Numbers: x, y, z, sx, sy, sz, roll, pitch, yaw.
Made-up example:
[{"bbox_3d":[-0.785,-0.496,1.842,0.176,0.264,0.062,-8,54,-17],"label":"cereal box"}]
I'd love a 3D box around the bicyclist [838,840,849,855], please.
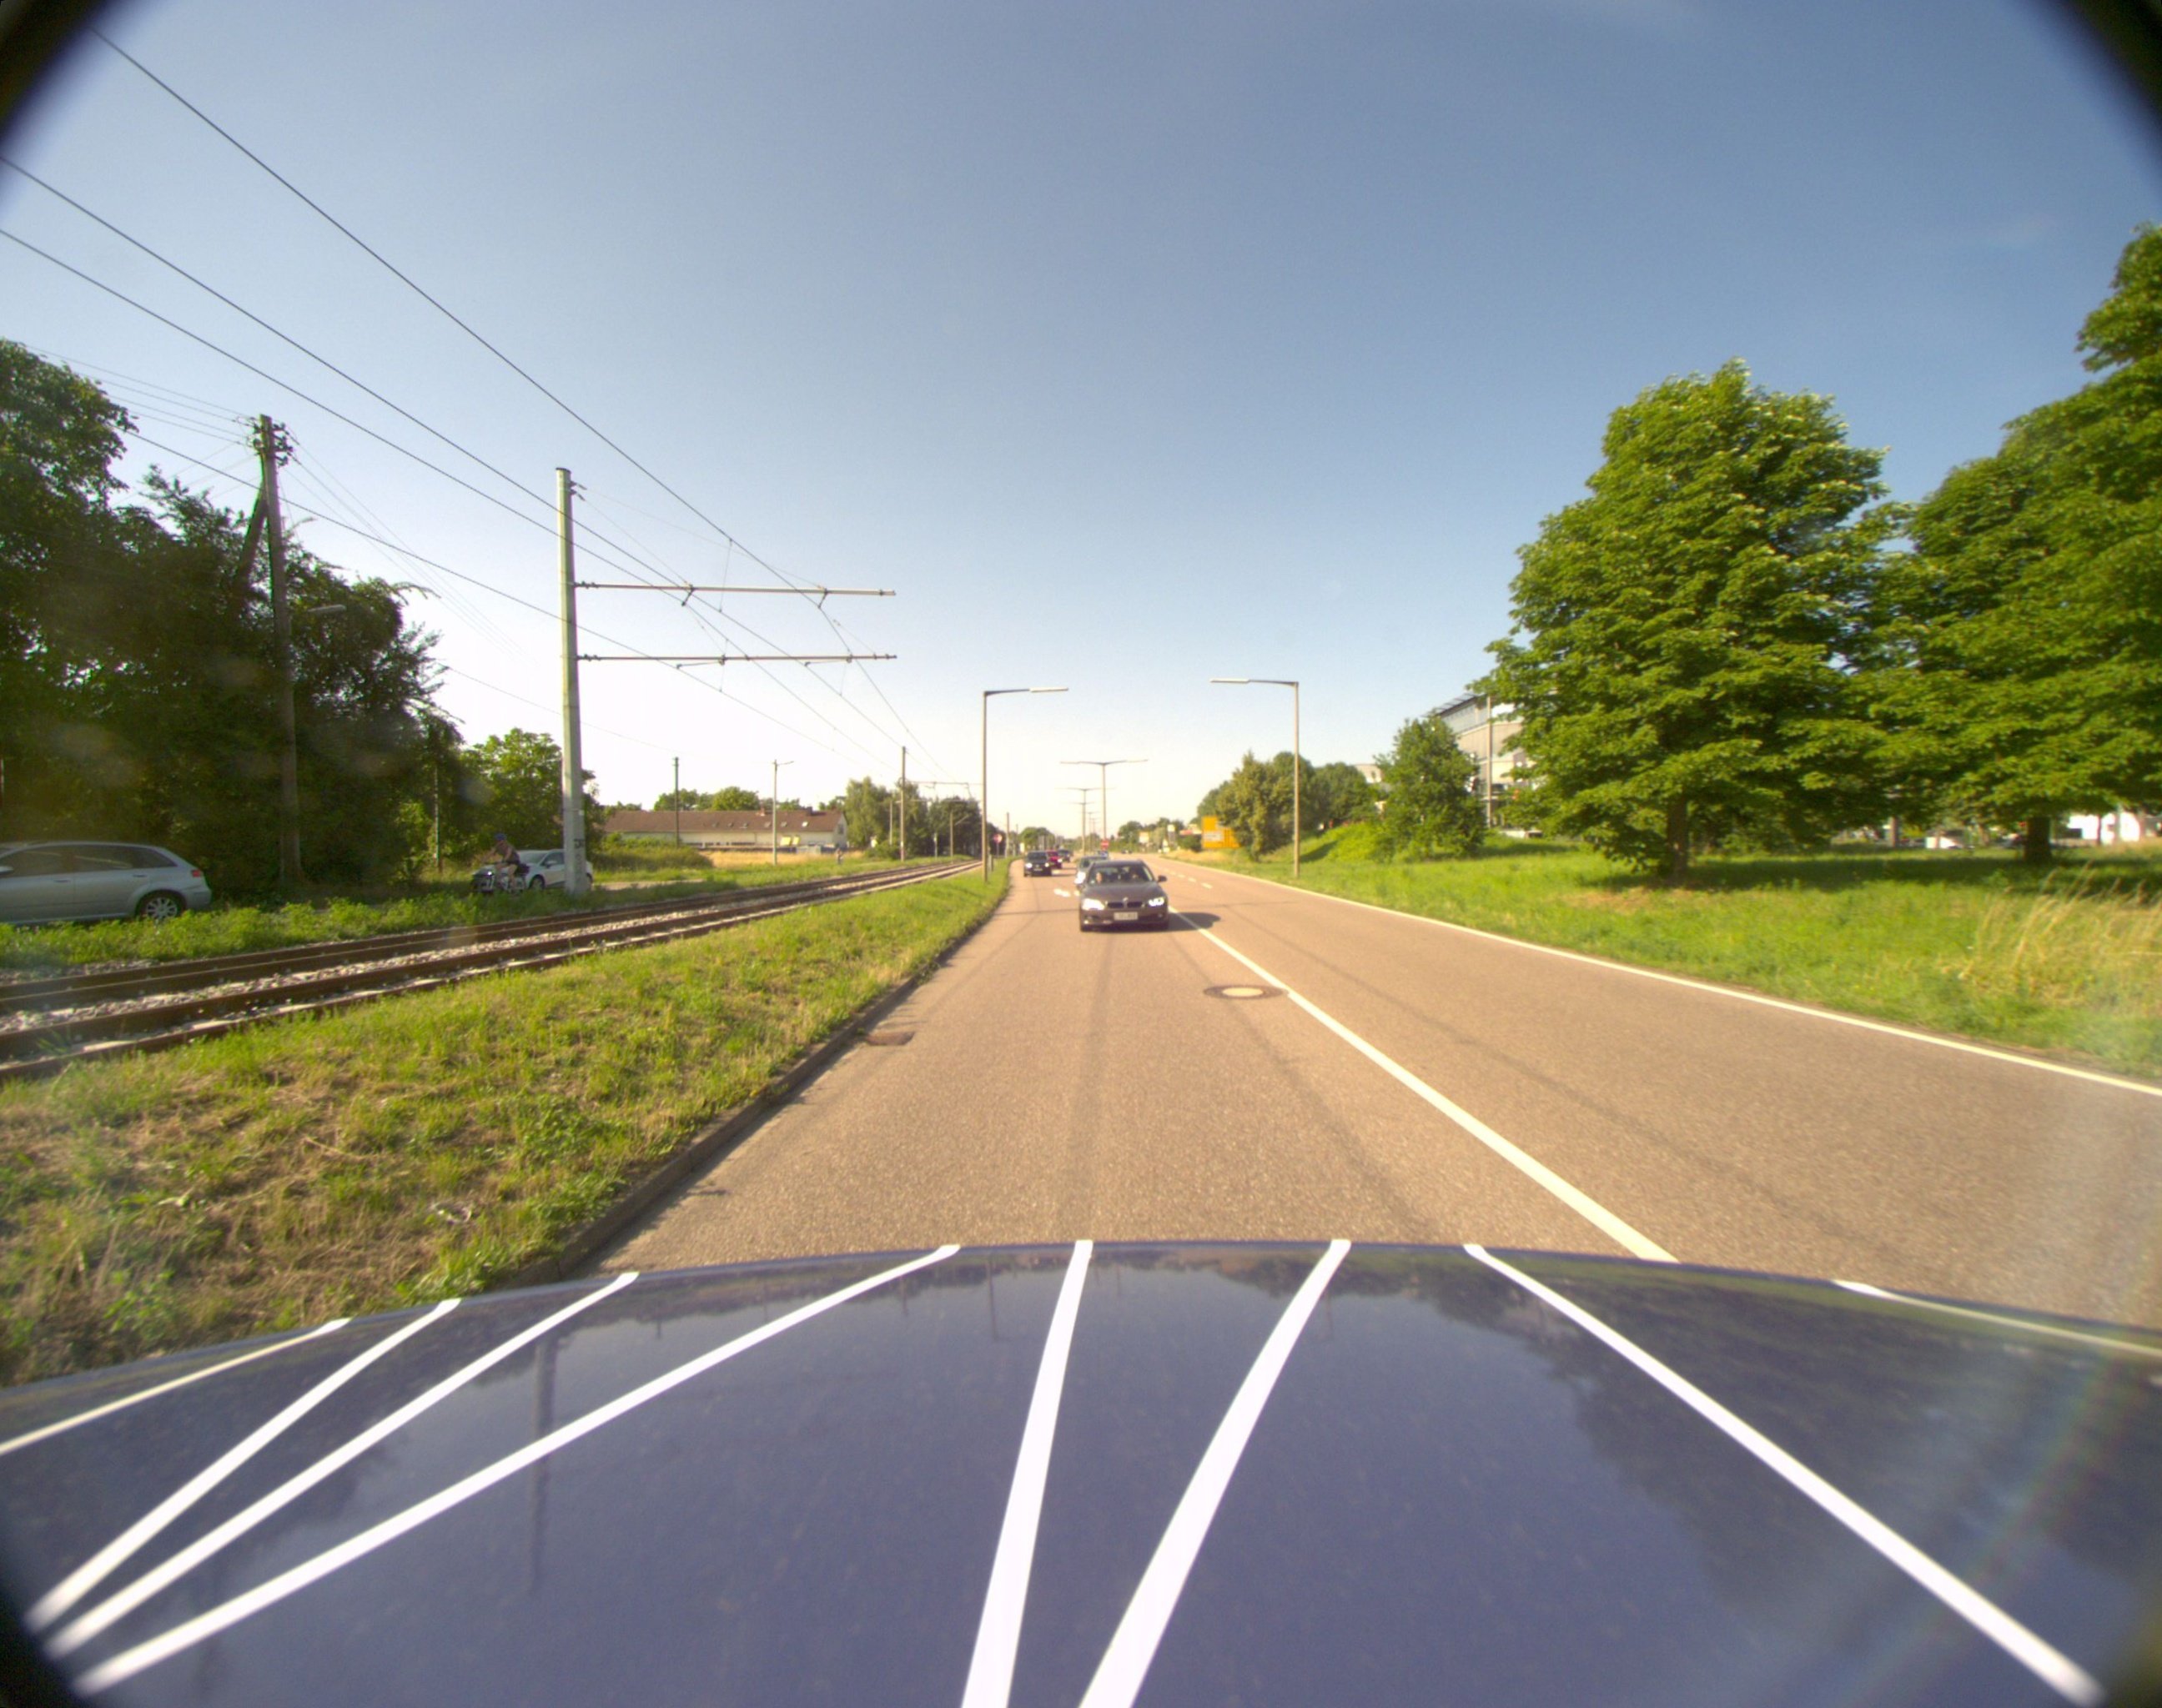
[{"bbox_3d":[-20.794,-0.561,66.517,0.641,1.226,0.791,-2,1,-1],"label":"bicyclist"}]

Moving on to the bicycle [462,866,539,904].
[{"bbox_3d":[-15.538,0.807,20.399,0.644,0.904,1.843,-1,1,-1],"label":"bicycle"}]

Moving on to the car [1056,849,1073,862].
[{"bbox_3d":[-1.976,0.141,92.984,1.968,1.504,4.807,-1,0,-1],"label":"car"}]

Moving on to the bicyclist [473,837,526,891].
[{"bbox_3d":[-15.553,0.255,20.344,0.631,1.414,0.962,-1,1,-1],"label":"bicyclist"}]

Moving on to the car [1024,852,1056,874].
[{"bbox_3d":[-2.679,0.570,49.964,1.847,1.347,4.153,-2,0,-1],"label":"car"}]

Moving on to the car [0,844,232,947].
[{"bbox_3d":[-17.507,0.633,12.372,1.911,1.581,4.728,0,0,3],"label":"car"}]

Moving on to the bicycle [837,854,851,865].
[{"bbox_3d":[-20.760,0.469,66.562,0.644,0.904,1.813,-2,0,-1],"label":"bicycle"}]

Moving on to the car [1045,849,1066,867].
[{"bbox_3d":[-2.174,0.327,65.395,1.607,1.504,4.267,-2,0,-1],"label":"car"}]

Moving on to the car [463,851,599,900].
[{"bbox_3d":[-17.544,0.629,24.488,1.538,1.440,4.129,0,0,-3],"label":"car"}]

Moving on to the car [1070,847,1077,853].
[{"bbox_3d":[-2.182,-1.072,216.479,1.837,1.504,4.151,-2,0,-5],"label":"car"}]

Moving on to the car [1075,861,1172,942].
[{"bbox_3d":[0.803,0.912,16.435,1.747,1.444,3.946,-2,0,-1],"label":"car"}]

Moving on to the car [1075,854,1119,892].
[{"bbox_3d":[0.716,0.775,32.555,1.710,1.444,4.590,-2,0,2],"label":"car"}]
